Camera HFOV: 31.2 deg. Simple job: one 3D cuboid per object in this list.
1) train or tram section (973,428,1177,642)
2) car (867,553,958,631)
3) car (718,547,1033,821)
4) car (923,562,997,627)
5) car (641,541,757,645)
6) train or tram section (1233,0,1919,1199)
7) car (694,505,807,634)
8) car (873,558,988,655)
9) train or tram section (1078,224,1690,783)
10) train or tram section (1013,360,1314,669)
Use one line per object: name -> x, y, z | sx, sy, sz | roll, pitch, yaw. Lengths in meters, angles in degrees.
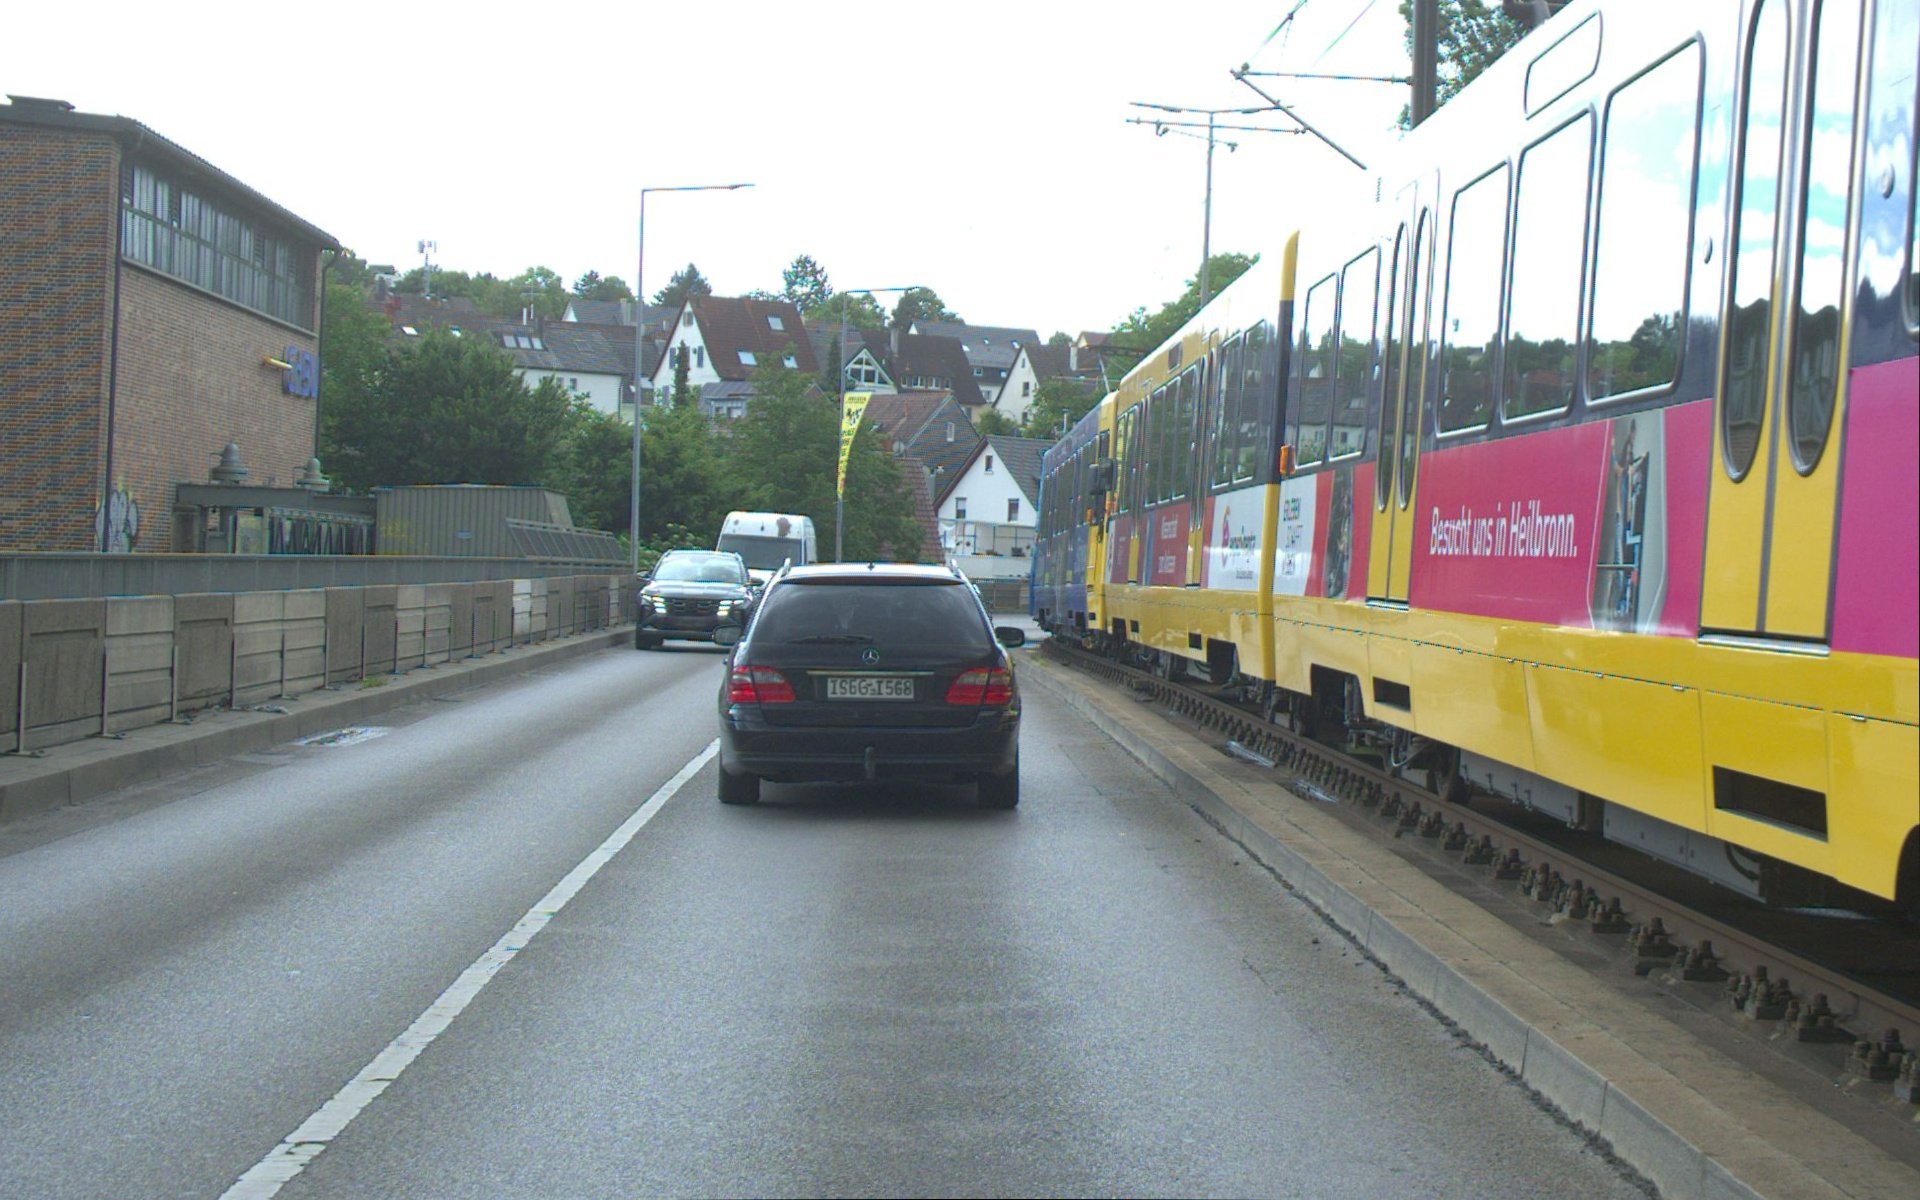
train or tram section -> 2.069, -1.212, 70.568 | 2.793, 3.751, 19.894 | 1, 0, -2
car -> -1.038, -0.187, 72.392 | 1.792, 1.550, 4.385 | 2, 0, -2
car -> -0.543, 0.442, 21.627 | 1.759, 1.510, 4.443 | 1, 1, -2
car -> 0.022, -0.154, 87.937 | 1.770, 1.550, 4.240 | 3, 0, 1
car -> -4.292, -0.150, 56.908 | 1.715, 1.640, 4.000 | 0, 1, -1
train or tram section -> 3.409, -0.459, 12.666 | 2.882, 3.497, 18.668 | 0, 1, -1
car -> -4.371, -0.694, 72.628 | 2.033, 2.552, 7.008 | 1, 1, -1
car -> -0.541, 0.085, 58.538 | 1.770, 1.550, 4.241 | 1, 1, -3
train or tram section -> 3.035, -0.768, 31.346 | 2.829, 3.568, 18.668 | 0, 1, -1
train or tram section -> 2.564, -1.081, 50.630 | 2.784, 3.643, 19.894 | 0, 0, -1
